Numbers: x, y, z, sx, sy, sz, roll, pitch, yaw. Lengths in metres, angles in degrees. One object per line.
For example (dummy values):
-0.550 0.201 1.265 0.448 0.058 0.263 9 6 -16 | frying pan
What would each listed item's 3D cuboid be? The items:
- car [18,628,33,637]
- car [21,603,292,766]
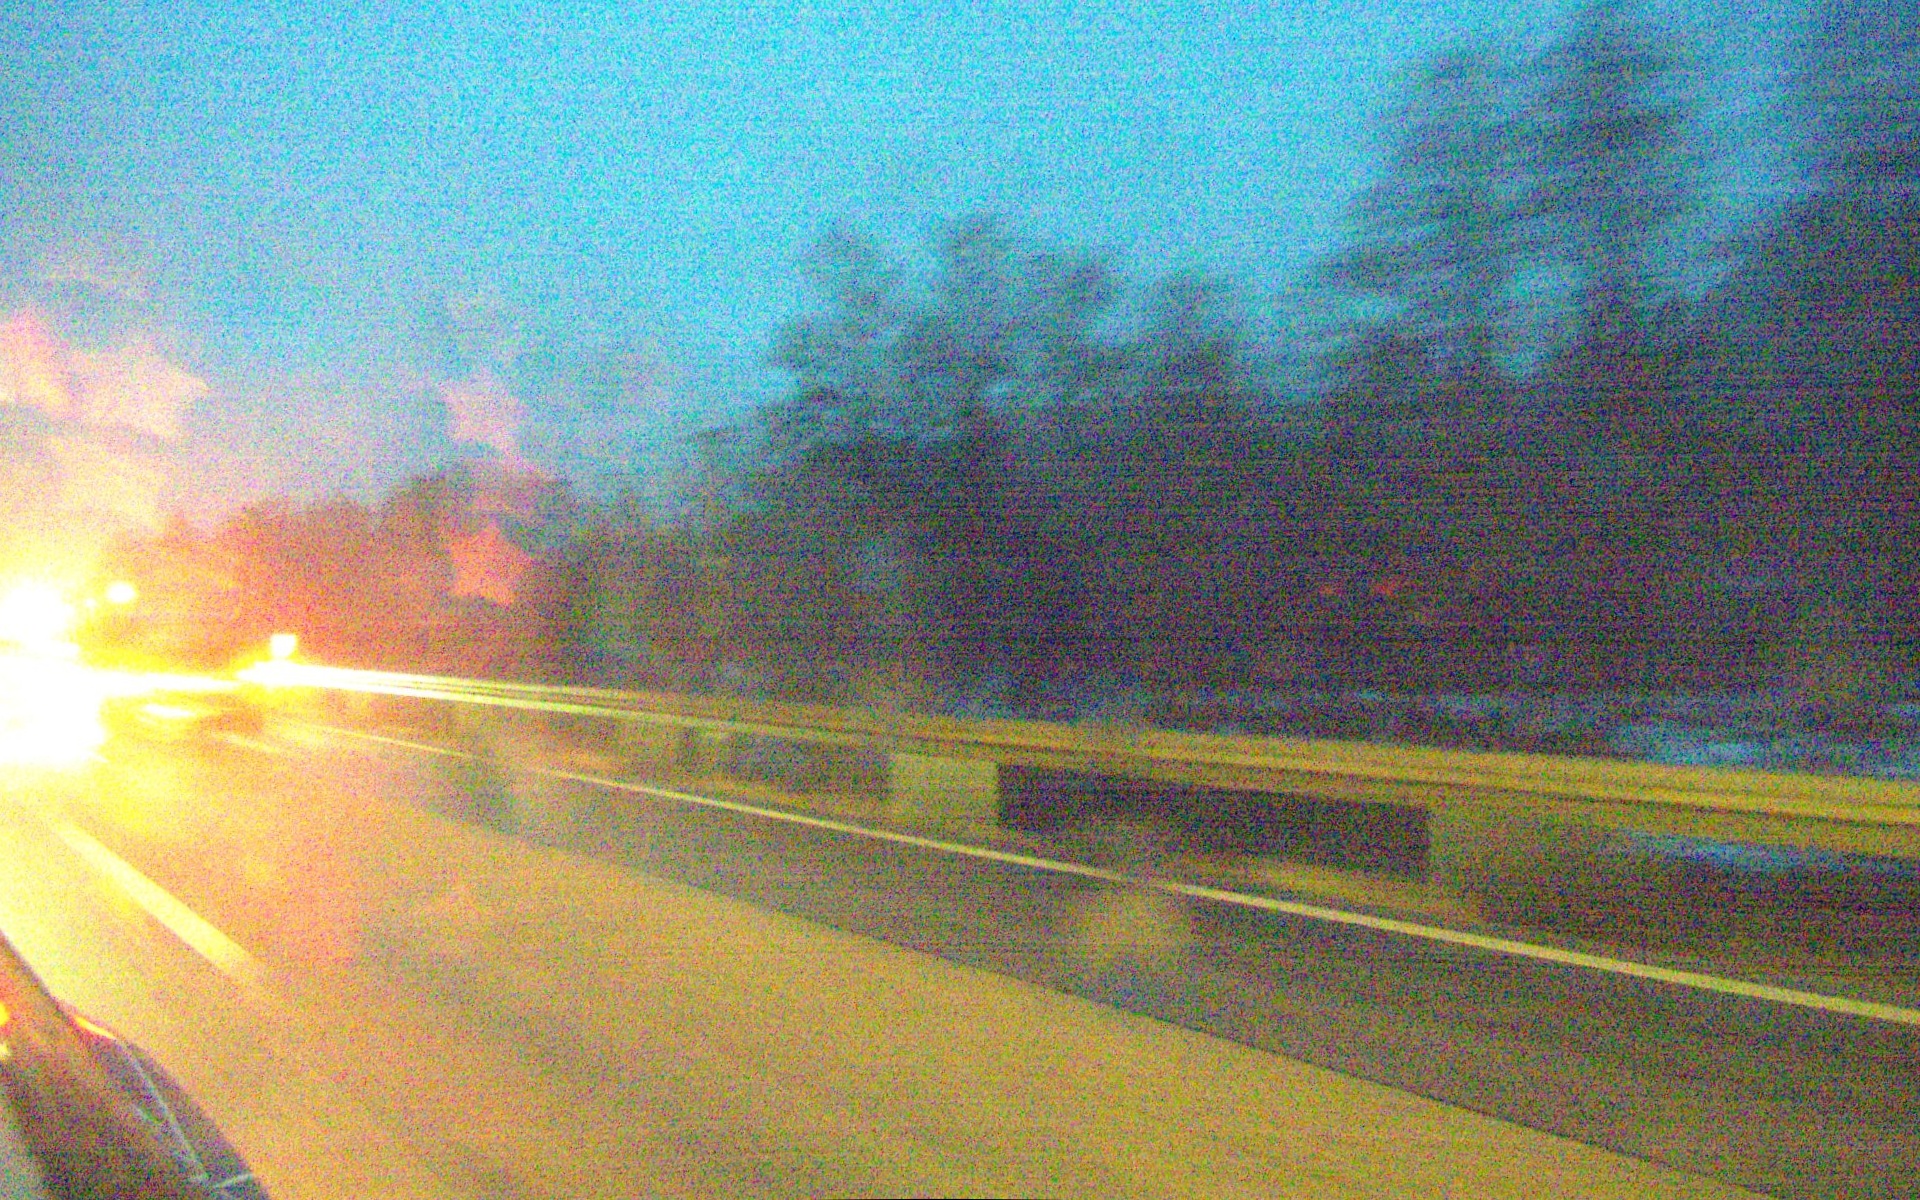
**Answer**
-163.923 5.685 177.465 1.808 1.566 4.447 0 -2 -42 | car
-9.892 0.900 12.312 4.629 1.612 1.790 -2 -1 41 | car
